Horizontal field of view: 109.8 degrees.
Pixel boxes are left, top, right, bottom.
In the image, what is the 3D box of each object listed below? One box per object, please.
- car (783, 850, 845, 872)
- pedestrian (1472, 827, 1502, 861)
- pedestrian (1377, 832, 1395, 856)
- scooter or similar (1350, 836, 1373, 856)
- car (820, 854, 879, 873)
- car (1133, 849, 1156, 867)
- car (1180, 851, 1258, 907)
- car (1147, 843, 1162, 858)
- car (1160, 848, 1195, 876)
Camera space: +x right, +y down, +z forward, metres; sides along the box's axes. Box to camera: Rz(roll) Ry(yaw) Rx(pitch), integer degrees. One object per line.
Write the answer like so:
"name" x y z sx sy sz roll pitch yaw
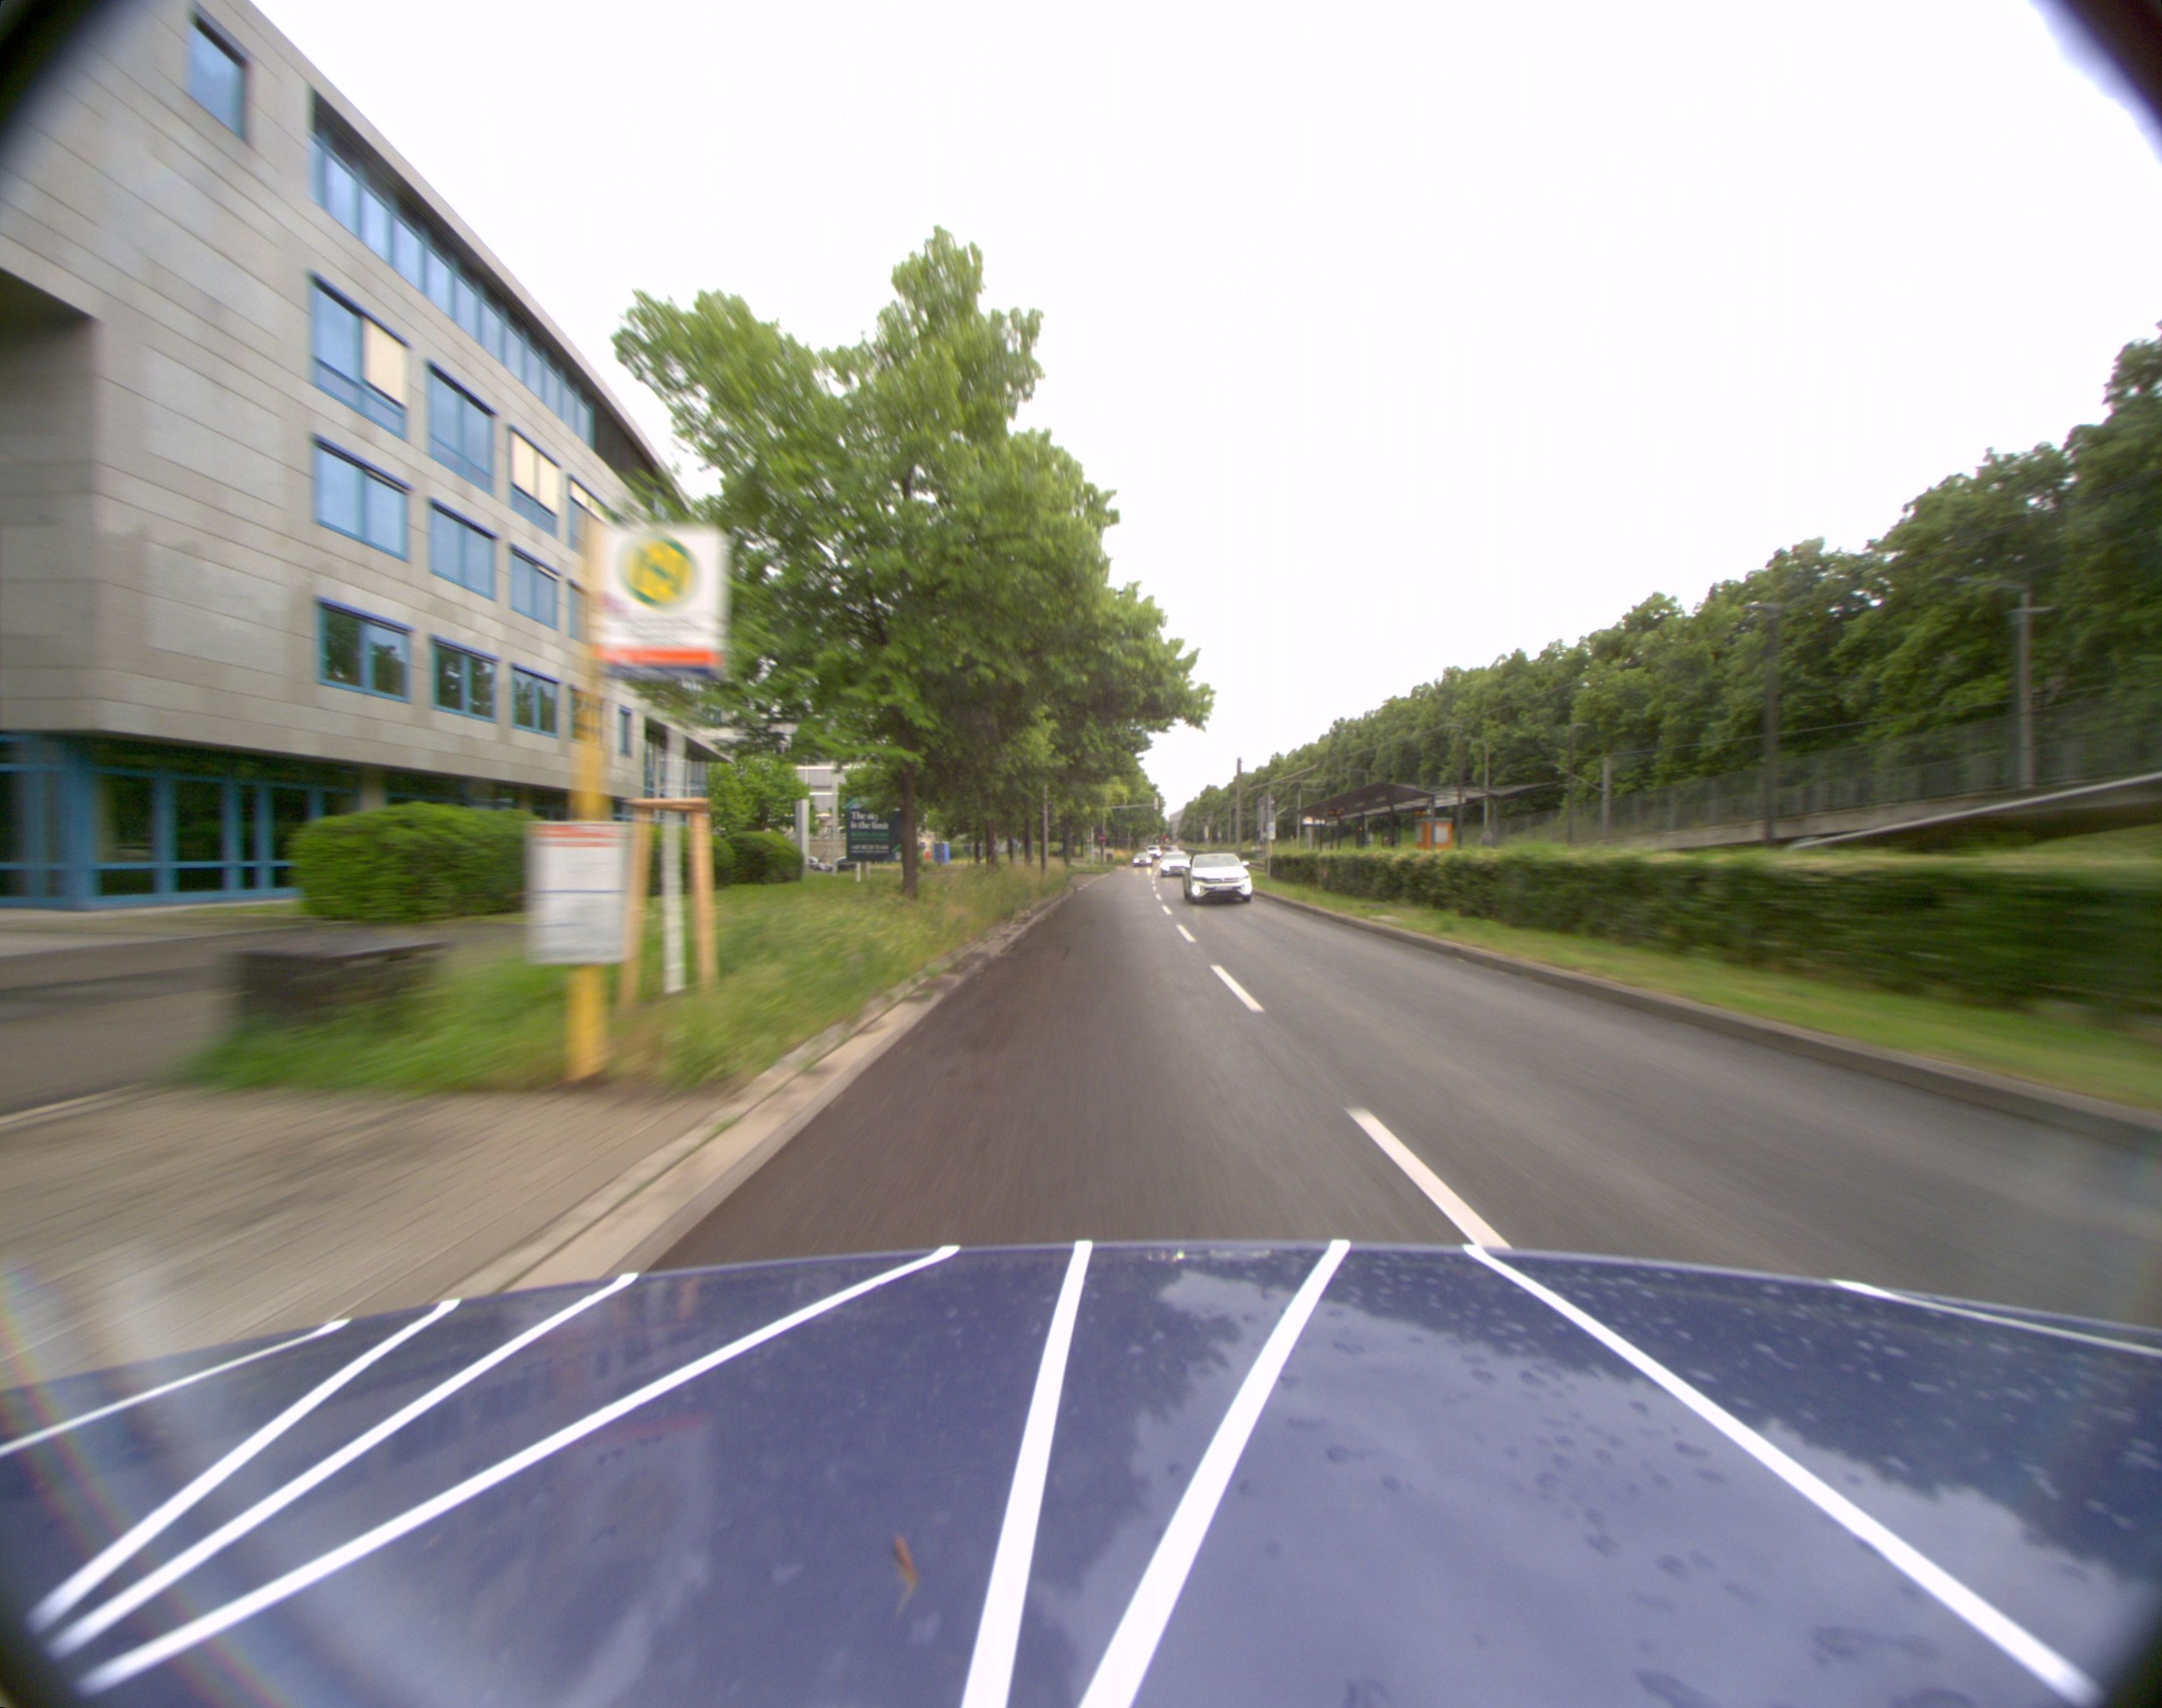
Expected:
"car" -19.963 0.519 56.869 4.103 1.632 1.760 0 -1 12
"pedestrian" 19.046 -0.469 35.688 0.937 1.602 1.027 -1 1 7
"pedestrian" 16.963 -0.566 42.277 0.754 1.348 0.692 -1 1 3
"scooter or similar" 16.988 -0.473 46.020 0.380 1.211 1.297 -4 2 -40
"car" -19.365 0.784 63.709 4.426 1.425 1.711 -1 1 -1
"car" 5.952 0.362 70.822 1.959 1.469 4.701 -2 1 7
"car" 4.254 0.701 24.104 1.959 1.457 4.700 -3 1 5
"car" 10.062 -0.556 103.759 1.959 1.914 4.846 -2 1 5
"car" 5.757 0.422 45.836 1.959 1.472 4.700 -2 1 6
